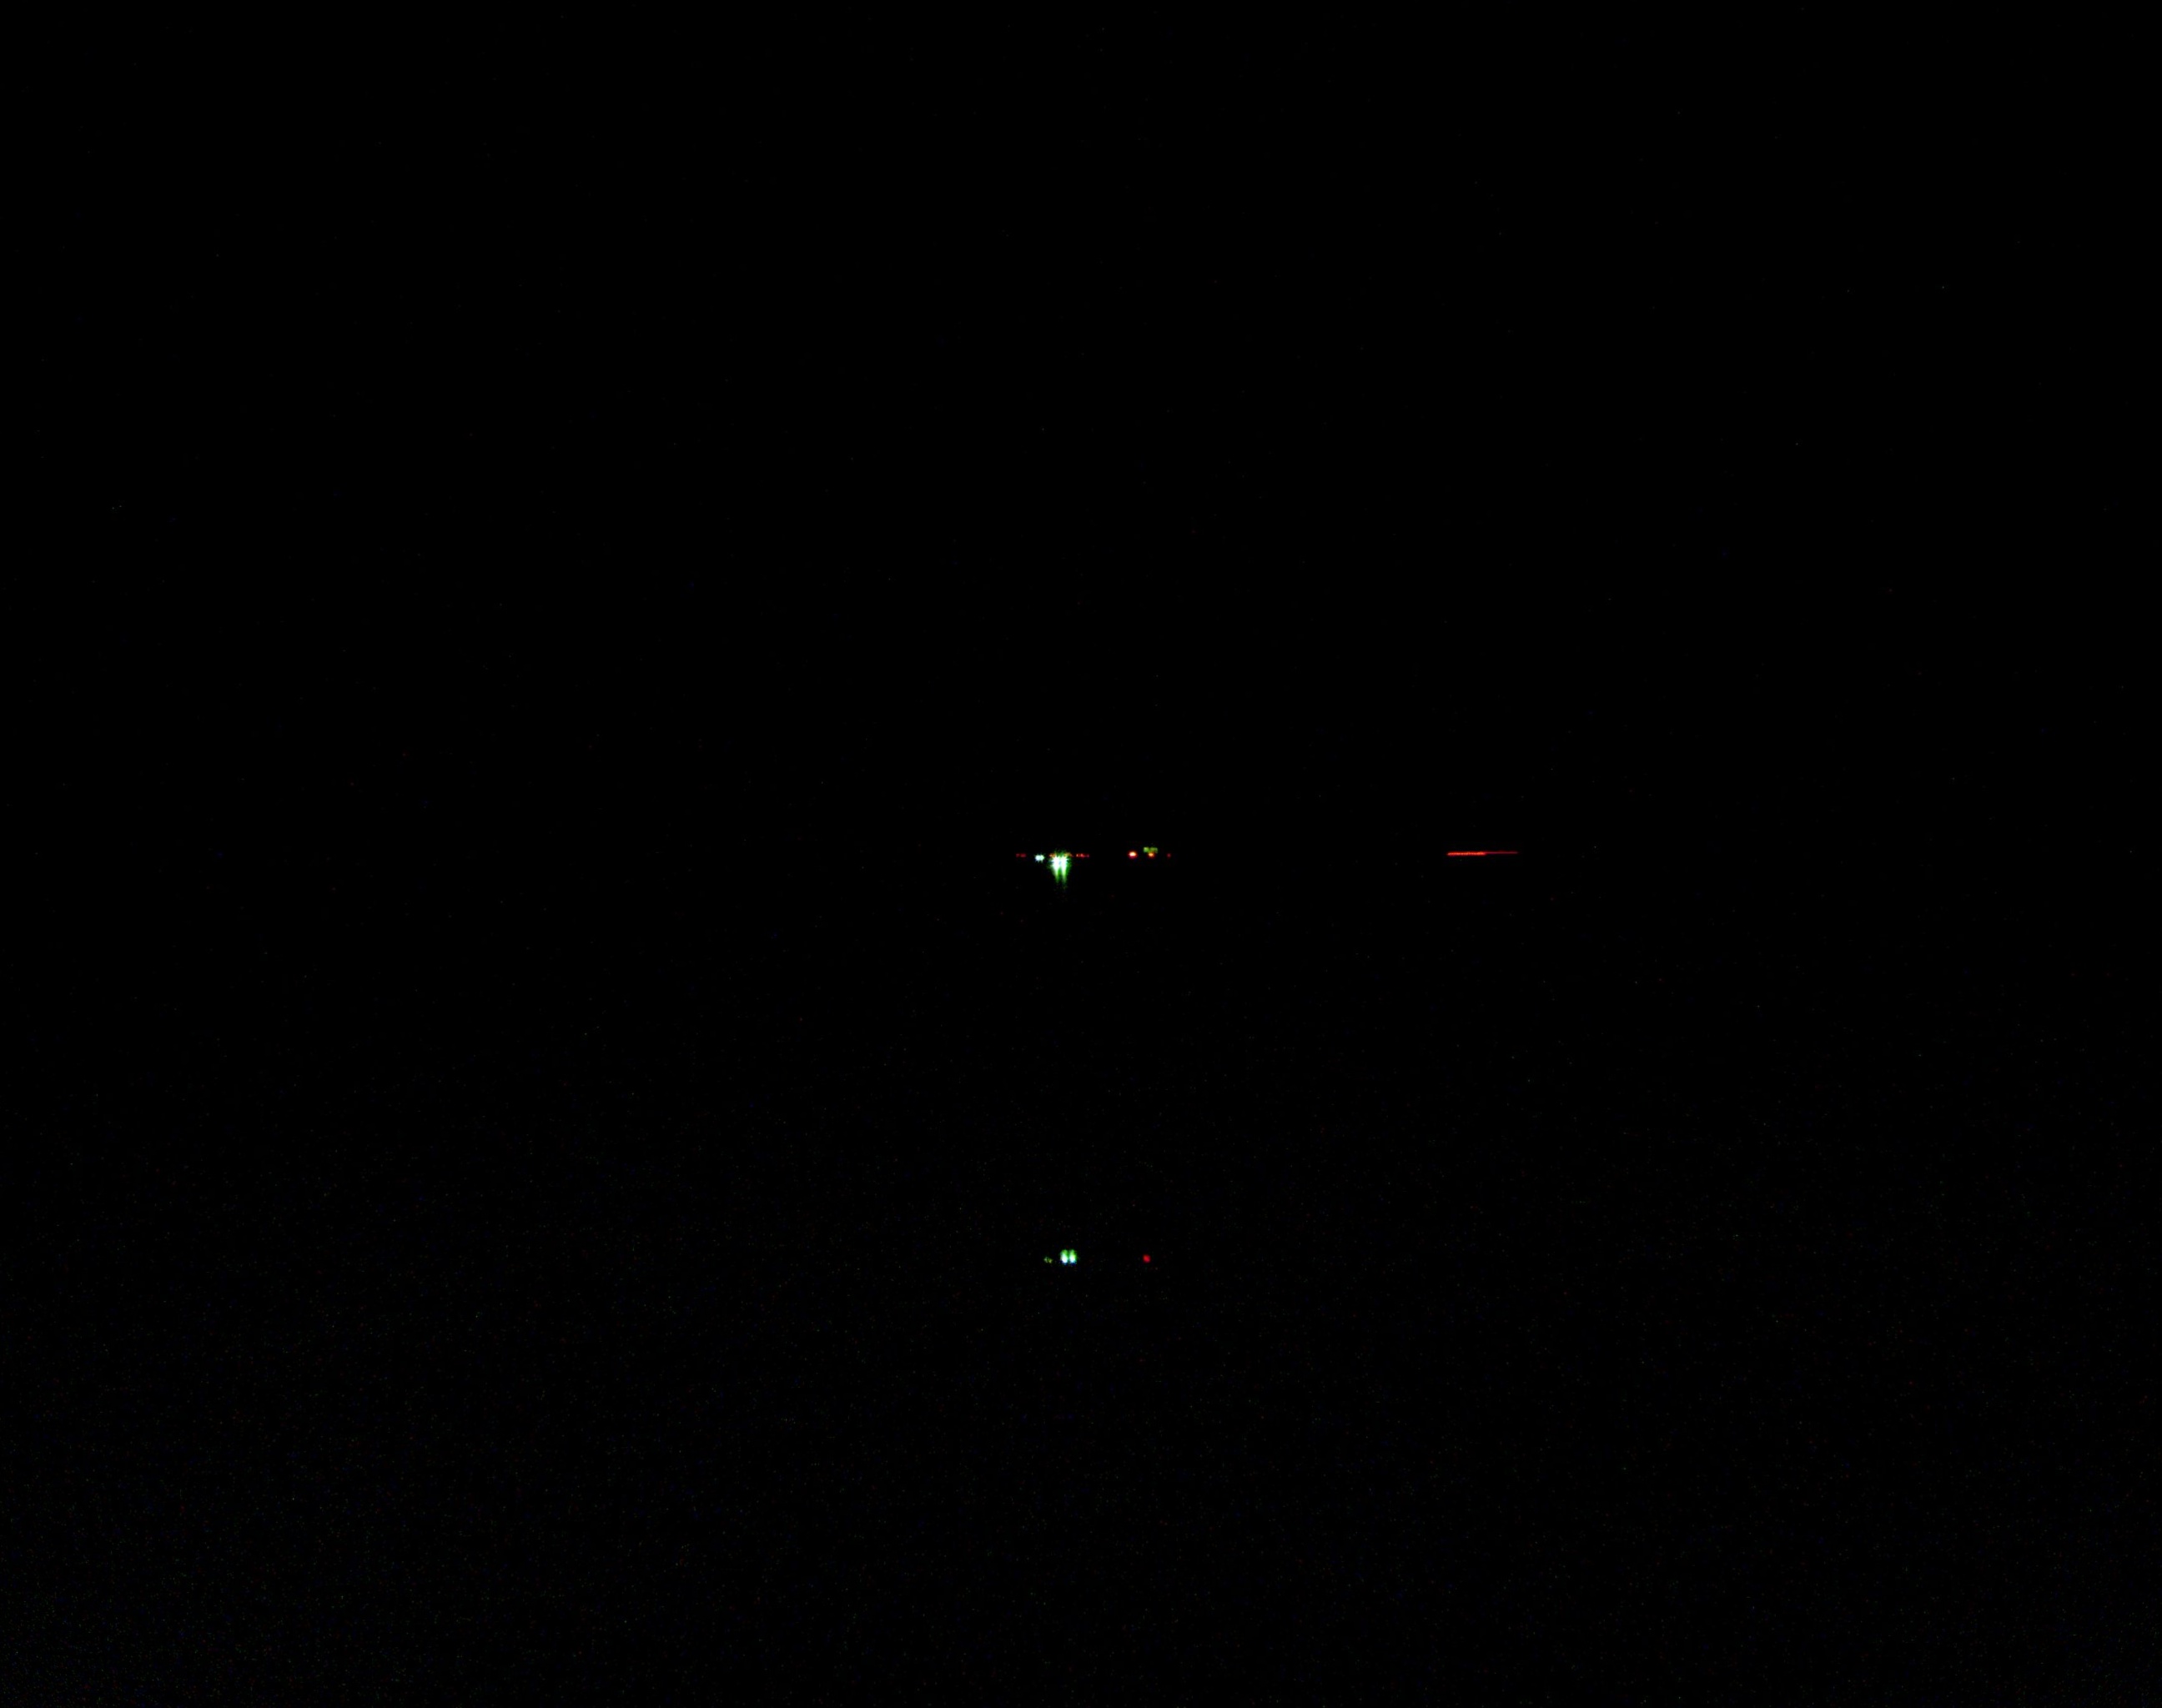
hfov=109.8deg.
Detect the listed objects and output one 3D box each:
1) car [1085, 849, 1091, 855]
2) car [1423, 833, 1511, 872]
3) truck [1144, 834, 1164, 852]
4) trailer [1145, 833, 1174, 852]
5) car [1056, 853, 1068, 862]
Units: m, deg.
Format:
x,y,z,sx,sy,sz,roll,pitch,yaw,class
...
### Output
x,y,z,sx,sy,sz,roll,pitch,yaw,class
2.360,-0.695,254.399,1.999,1.776,4.398,-2,1,-1,car
18.858,-0.105,37.350,1.999,1.776,4.398,-2,1,-1,car
17.057,-2.643,178.515,3.512,3.947,6.696,-2,1,-3,truck
17.484,-2.531,170.663,3.553,3.977,17.274,-2,1,-3,trailer
-3.676,0.711,143.897,2.155,1.558,4.579,-2,1,-2,car
